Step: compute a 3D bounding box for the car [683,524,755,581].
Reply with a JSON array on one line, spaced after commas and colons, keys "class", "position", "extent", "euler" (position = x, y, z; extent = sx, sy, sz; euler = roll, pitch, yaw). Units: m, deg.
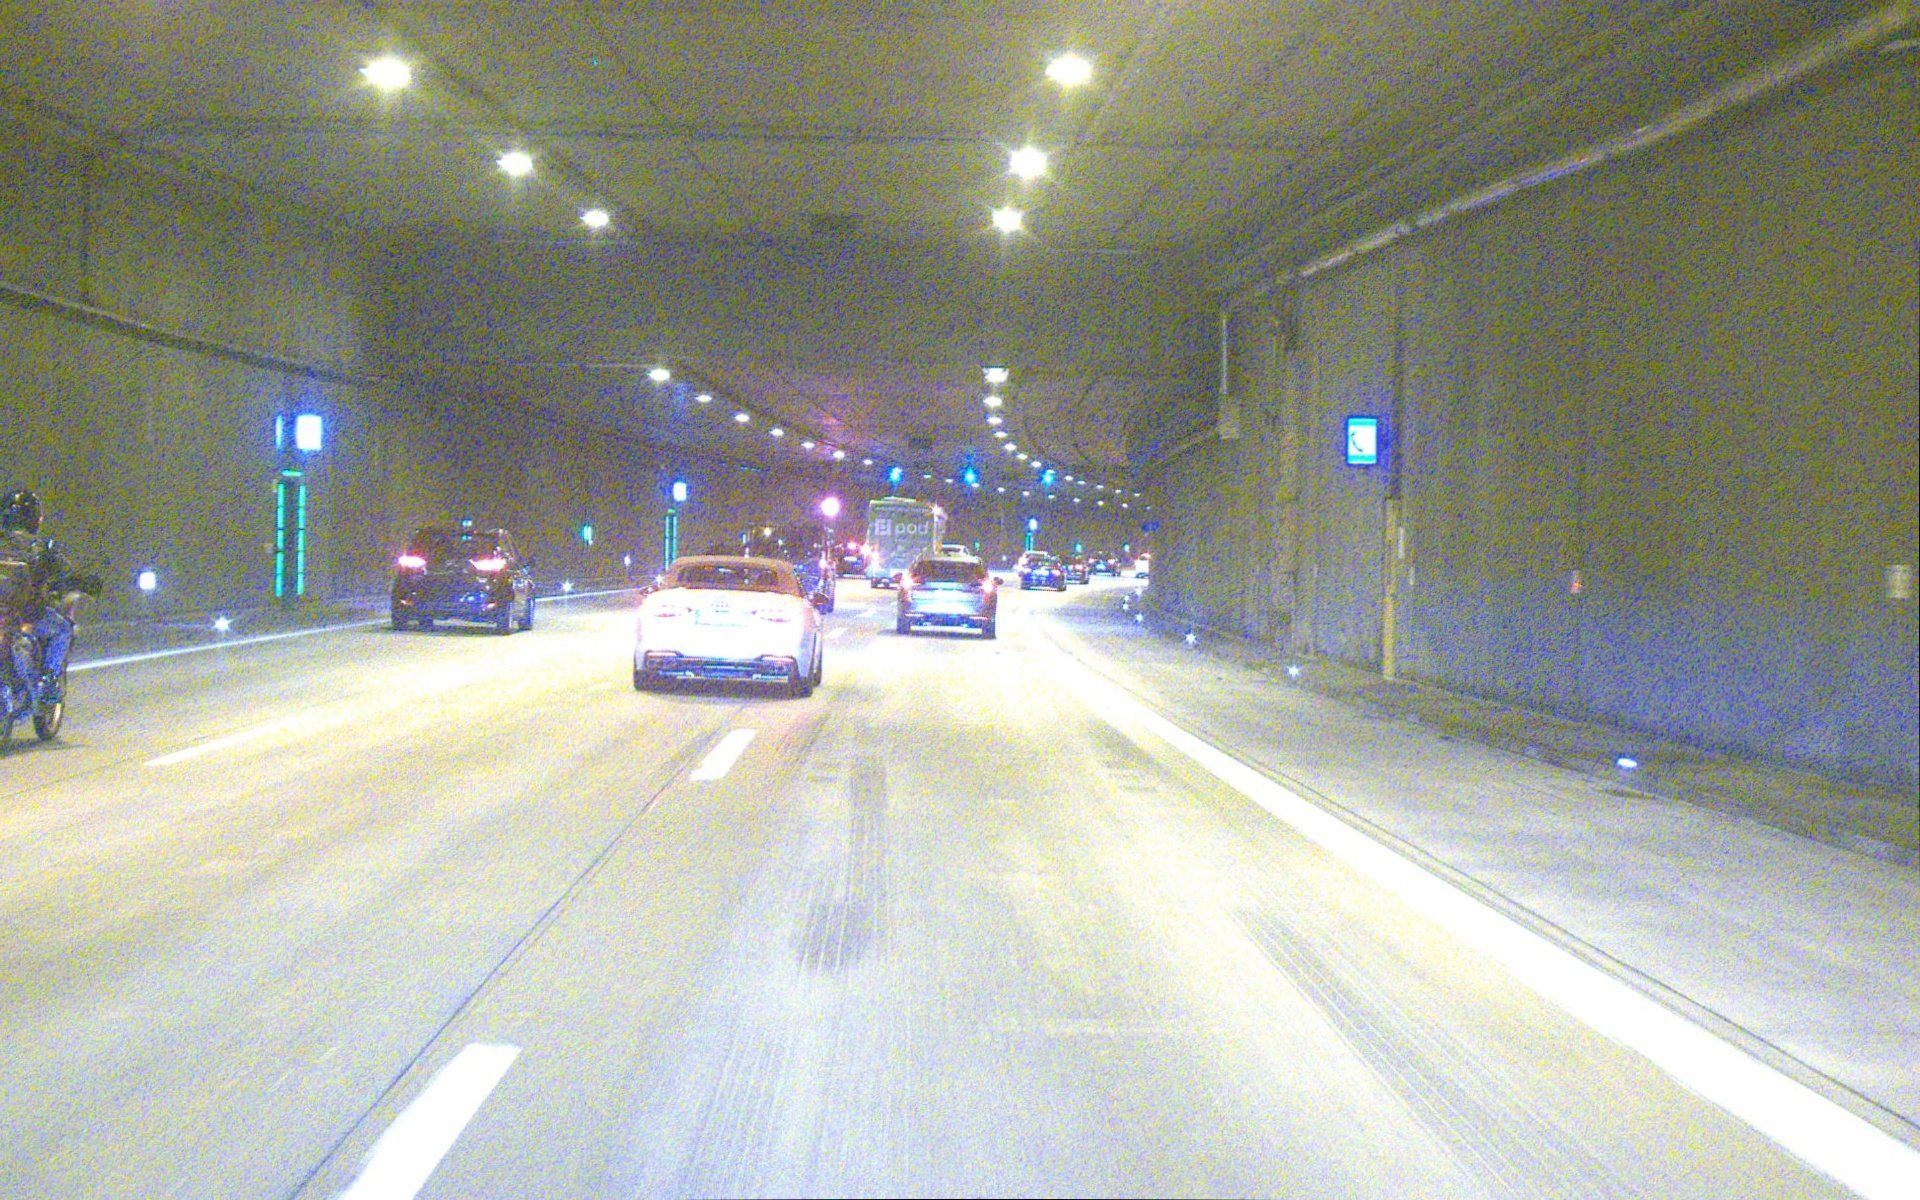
[{"class": "car", "position": [-7.281, -1.438, 104.350], "extent": [1.800, 1.678, 4.000], "euler": [-1, 1, 1]}]

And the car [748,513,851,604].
[{"class": "car", "position": [-3.525, -0.913, 76.243], "extent": [1.993, 1.965, 4.000], "euler": [0, 1, 1]}]

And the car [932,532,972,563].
[{"class": "car", "position": [-0.391, -2.742, 179.675], "extent": [1.830, 1.612, 4.000], "euler": [1, 1, 3]}]

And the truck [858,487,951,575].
[{"class": "truck", "position": [-1.975, -2.582, 126.394], "extent": [3.083, 3.102, 10.030], "euler": [0, 2, 1]}]

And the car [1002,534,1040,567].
[{"class": "car", "position": [3.317, -2.685, 187.825], "extent": [1.993, 1.748, 4.000], "euler": [0, 0, 1]}]

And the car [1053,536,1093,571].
[{"class": "car", "position": [5.614, -2.326, 171.356], "extent": [1.858, 1.660, 4.000], "euler": [1, 1, 1]}]

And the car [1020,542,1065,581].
[{"class": "car", "position": [3.435, -1.622, 142.781], "extent": [1.844, 1.562, 4.000], "euler": [1, 1, 2]}]

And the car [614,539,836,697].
[{"class": "car", "position": [-2.378, 0.142, 35.772], "extent": [1.993, 1.478, 4.000], "euler": [2, 1, 0]}]

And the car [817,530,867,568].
[{"class": "car", "position": [-4.969, -2.162, 145.445], "extent": [1.843, 1.598, 4.000], "euler": [1, 1, 2]}]

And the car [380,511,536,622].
[{"class": "car", "position": [-7.542, -0.522, 51.910], "extent": [1.785, 1.593, 3.801], "euler": [1, 1, 0]}]

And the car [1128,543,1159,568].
[{"class": "car", "position": [11.456, -2.793, 214.625], "extent": [1.844, 1.546, 4.000], "euler": [1, 1, 3]}]

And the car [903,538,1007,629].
[{"class": "car", "position": [-0.116, -0.325, 62.979], "extent": [1.839, 1.596, 4.000], "euler": [1, 1, -1]}]

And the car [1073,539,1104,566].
[{"class": "car", "position": [8.152, -3.038, 217.739], "extent": [1.833, 1.685, 4.000], "euler": [1, 1, 3]}]

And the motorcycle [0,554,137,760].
[{"class": "motorcycle", "position": [-6.206, 0.347, 22.829], "extent": [0.845, 1.241, 2.605], "euler": [-1, 2, -1]}]

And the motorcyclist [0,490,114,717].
[{"class": "motorcyclist", "position": [-6.193, 0.020, 22.990], "extent": [0.839, 1.472, 0.821], "euler": [-2, 1, -2]}]
